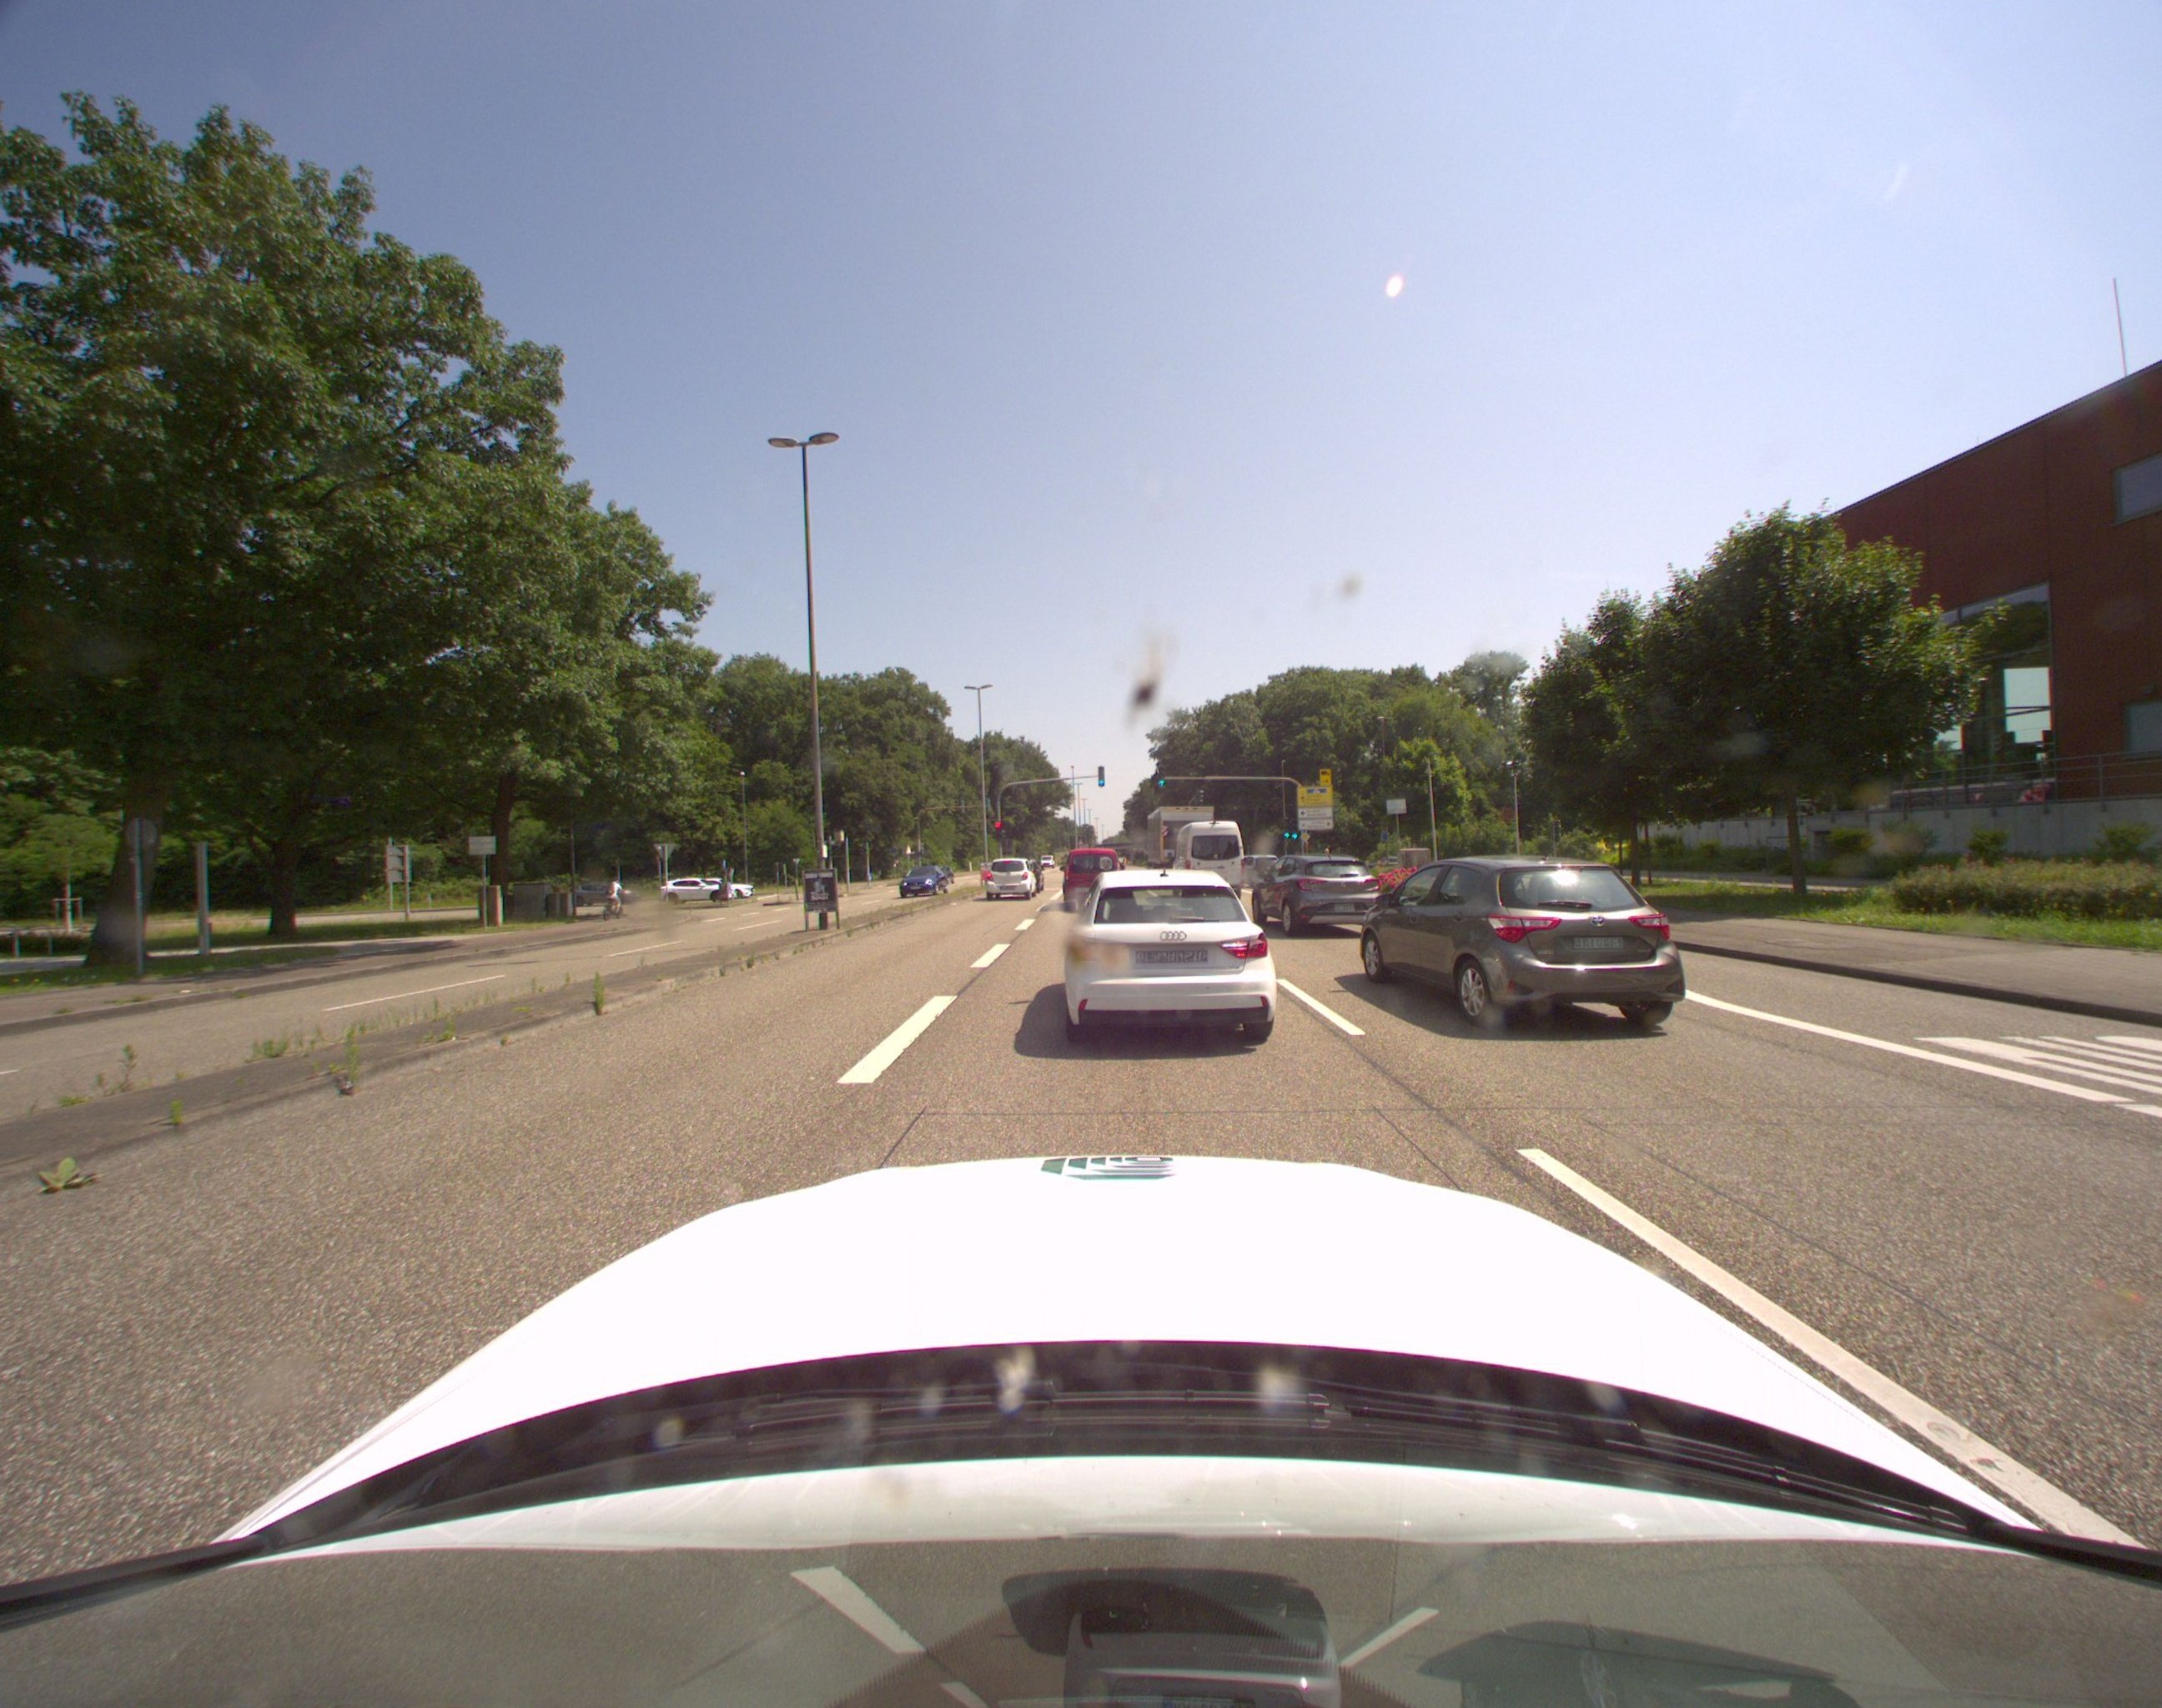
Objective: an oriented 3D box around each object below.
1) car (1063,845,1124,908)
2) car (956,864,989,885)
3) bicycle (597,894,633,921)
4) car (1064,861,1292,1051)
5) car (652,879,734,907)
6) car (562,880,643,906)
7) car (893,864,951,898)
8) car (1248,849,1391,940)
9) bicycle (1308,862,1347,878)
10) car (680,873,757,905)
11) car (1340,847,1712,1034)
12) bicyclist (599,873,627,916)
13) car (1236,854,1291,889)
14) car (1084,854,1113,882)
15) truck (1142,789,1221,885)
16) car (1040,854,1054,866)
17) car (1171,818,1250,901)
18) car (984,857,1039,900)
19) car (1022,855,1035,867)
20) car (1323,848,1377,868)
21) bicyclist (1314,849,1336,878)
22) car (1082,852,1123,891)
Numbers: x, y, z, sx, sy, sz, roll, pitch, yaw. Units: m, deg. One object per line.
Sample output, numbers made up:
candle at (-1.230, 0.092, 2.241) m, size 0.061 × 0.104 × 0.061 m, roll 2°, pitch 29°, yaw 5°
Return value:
car at (0.356, 0.648, 25.127) m, size 1.706 × 1.748 × 4.091 m, roll -1°, pitch 0°, yaw 0°
car at (-8.184, 1.532, 61.746) m, size 1.798 × 1.335 × 4.000 m, roll -6°, pitch 0°, yaw 1°
bicycle at (-18.416, 2.110, 32.224) m, size 0.617 × 0.969 × 1.655 m, roll -2°, pitch 0°, yaw -8°
car at (0.743, 0.791, 8.230) m, size 1.706 × 1.386 × 4.091 m, roll -1°, pitch 0°, yaw 0°
car at (-24.826, 2.457, 52.292) m, size 4.366 × 1.681 × 1.806 m, roll 0°, pitch -1°, yaw -7°
car at (-32.533, 2.621, 55.488) m, size 4.370 × 1.681 × 1.804 m, roll 0°, pitch -1°, yaw -10°
car at (-7.598, 1.246, 39.271) m, size 1.798 × 1.335 × 4.000 m, roll -6°, pitch 0°, yaw 1°
car at (4.707, 0.733, 16.661) m, size 1.706 × 1.593 × 4.091 m, roll -1°, pitch 0°, yaw 0°
bicycle at (12.456, 0.798, 41.215) m, size 0.604 × 0.766 × 1.805 m, roll -2°, pitch -1°, yaw -43°
car at (-24.908, 2.379, 56.116) m, size 4.366 × 1.681 × 1.806 m, roll -6°, pitch 0°, yaw -7°
car at (4.262, 0.712, 8.646) m, size 1.706 × 1.478 × 4.091 m, roll 1°, pitch 0°, yaw 0°
bicyclist at (-18.437, 1.593, 32.084) m, size 0.607 × 1.630 × 0.921 m, roll -2°, pitch -1°, yaw -8°
car at (8.617, 0.812, 38.754) m, size 1.706 × 1.546 × 4.091 m, roll -1°, pitch 0°, yaw 0°
car at (1.032, 0.867, 50.676) m, size 1.706 × 1.631 × 4.091 m, roll -1°, pitch 0°, yaw 0°
truck at (5.111, -0.756, 43.738) m, size 3.077 × 4.434 × 11.584 m, roll -1°, pitch 0°, yaw 2°
car at (-5.167, 0.910, 125.243) m, size 1.866 × 1.861 × 4.000 m, roll -2°, pitch 0°, yaw 1°
car at (4.455, 0.195, 28.778) m, size 2.024 × 2.644 × 4.845 m, roll -1°, pitch 0°, yaw 1°
car at (-2.571, 0.883, 31.115) m, size 1.706 × 1.493 × 4.091 m, roll -1°, pitch 0°, yaw 0°
car at (-8.786, 1.155, 137.156) m, size 1.866 × 1.861 × 4.000 m, roll -2°, pitch 0°, yaw 1°
car at (22.096, 0.343, 67.070) m, size 3.965 × 1.464 × 1.678 m, roll -2°, pitch 0°, yaw 7°
bicyclist at (12.356, 0.480, 41.316) m, size 0.602 × 1.439 × 0.819 m, roll -2°, pitch -1°, yaw -43°
car at (0.938, 0.776, 37.058) m, size 1.706 × 1.631 × 4.091 m, roll -1°, pitch 0°, yaw 0°
